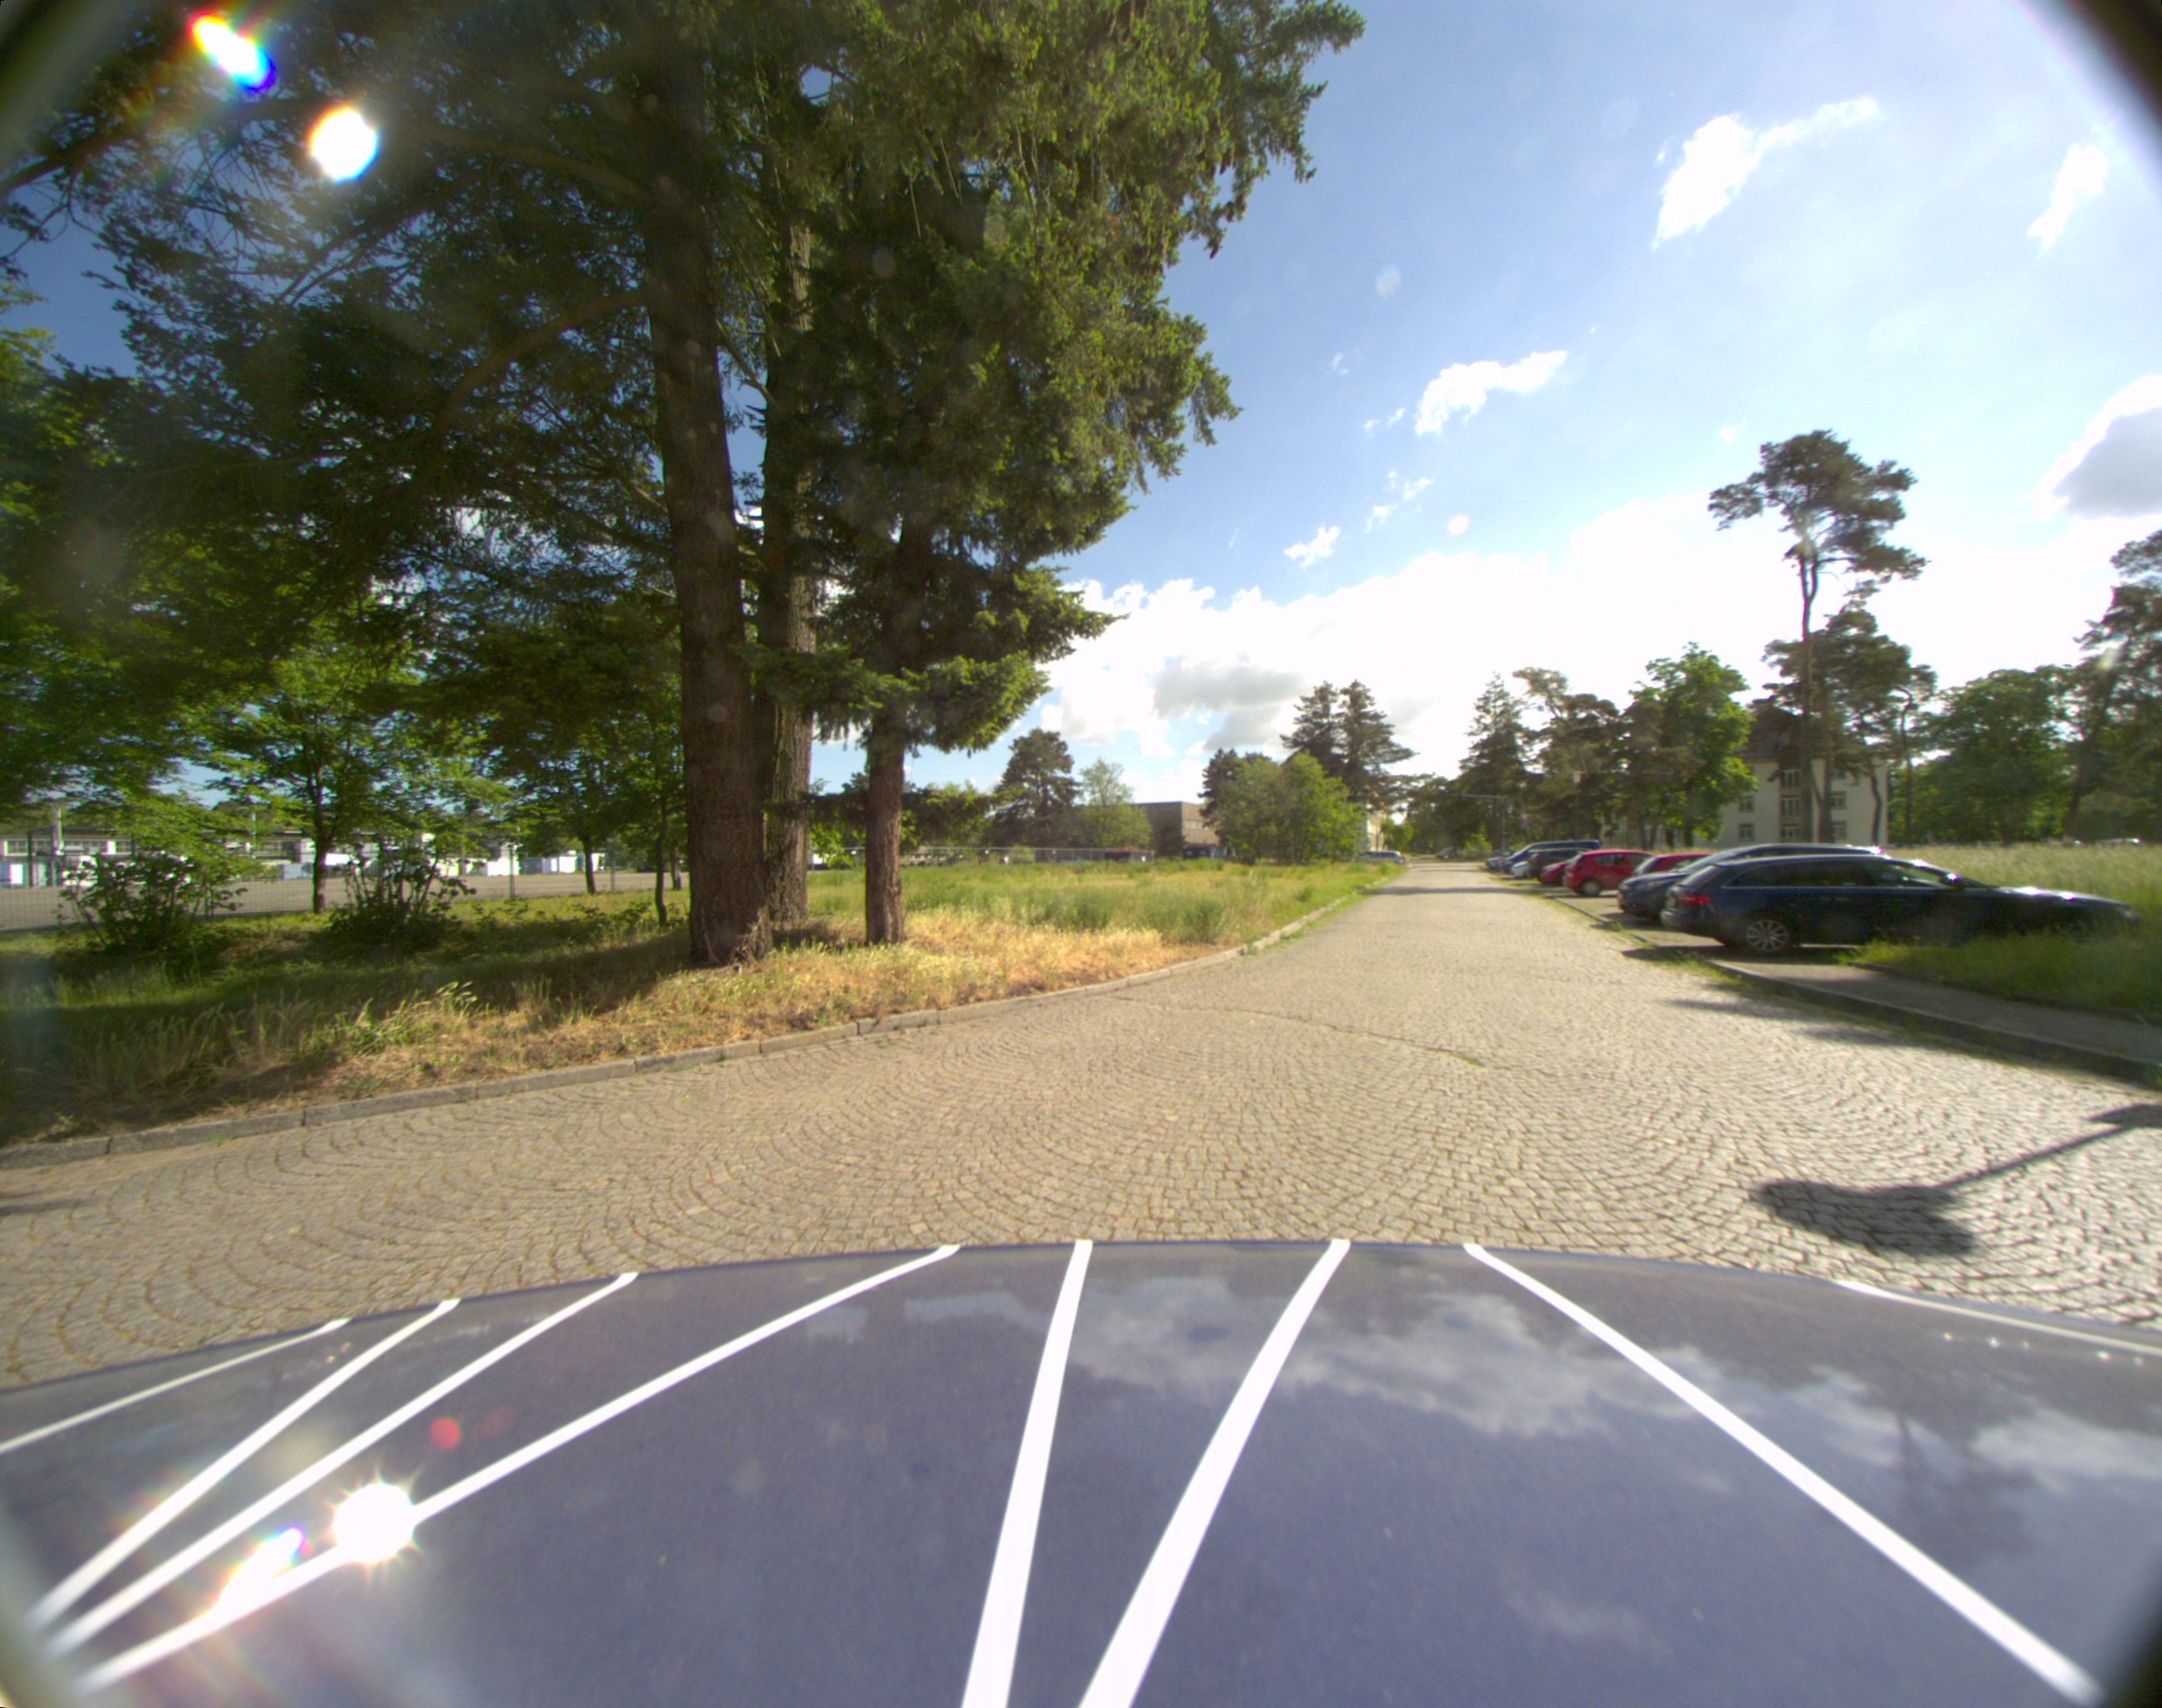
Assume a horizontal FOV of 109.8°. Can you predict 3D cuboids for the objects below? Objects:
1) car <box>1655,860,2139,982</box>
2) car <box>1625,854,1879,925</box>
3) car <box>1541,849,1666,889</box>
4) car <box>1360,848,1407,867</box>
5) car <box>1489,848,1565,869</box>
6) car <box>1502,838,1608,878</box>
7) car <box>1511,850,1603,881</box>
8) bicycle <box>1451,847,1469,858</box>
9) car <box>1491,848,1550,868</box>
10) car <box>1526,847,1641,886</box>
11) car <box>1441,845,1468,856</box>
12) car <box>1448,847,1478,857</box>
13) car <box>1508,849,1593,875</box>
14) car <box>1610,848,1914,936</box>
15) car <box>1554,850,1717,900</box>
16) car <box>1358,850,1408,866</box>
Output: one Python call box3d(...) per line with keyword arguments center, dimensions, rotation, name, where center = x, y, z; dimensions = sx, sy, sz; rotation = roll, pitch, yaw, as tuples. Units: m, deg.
box3d(center=(11.196, 0.863, 10.980), dimensions=(4.363, 1.436, 1.924), rotation=(-2, 0, 28), name="car")
box3d(center=(14.824, 0.770, 17.104), dimensions=(3.926, 1.424, 1.845), rotation=(-2, 0, 27), name="car")
box3d(center=(21.312, 0.622, 31.191), dimensions=(3.927, 1.440, 1.870), rotation=(-3, -1, 24), name="car")
box3d(center=(26.660, 0.283, 66.940), dimensions=(3.742, 1.468, 1.755), rotation=(2, 2, 24), name="car")
box3d(center=(34.189, 0.359, 58.408), dimensions=(4.869, 1.412, 1.941), rotation=(-2, 1, 26), name="car")
box3d(center=(25.986, 0.233, 41.858), dimensions=(4.722, 1.956, 2.009), rotation=(-3, 0, 26), name="car")
box3d(center=(24.734, 0.602, 39.623), dimensions=(3.819, 1.431, 1.685), rotation=(-3, 0, 23), name="car")
box3d(center=(54.323, -0.218, 108.871), dimensions=(2.111, 1.276, 0.622), rotation=(-7, -1, 23), name="bicycle")
box3d(center=(36.513, 0.349, 63.223), dimensions=(4.030, 1.474, 1.952), rotation=(-2, -1, 24), name="car")
box3d(center=(22.225, 0.557, 33.786), dimensions=(3.957, 1.558, 1.977), rotation=(-3, -1, 24), name="car")
box3d(center=(67.913, -0.582, 138.134), dimensions=(4.218, 1.903, 1.820), rotation=(-1, 1, 16), name="car")
box3d(center=(61.325, -0.284, 122.020), dimensions=(4.036, 1.514, 1.820), rotation=(0, 1, 18), name="car")
box3d(center=(28.651, 0.502, 46.517), dimensions=(4.200, 1.466, 1.827), rotation=(-2, 0, 26), name="car")
box3d(center=(13.261, 0.726, 15.190), dimensions=(4.138, 1.570, 1.888), rotation=(-2, 0, 26), name="car")
box3d(center=(17.687, 0.675, 24.484), dimensions=(3.927, 1.452, 1.845), rotation=(-2, -1, 24), name="car")
box3d(center=(29.552, 0.349, 74.417), dimensions=(4.516, 1.456, 1.841), rotation=(2, 2, 23), name="car")
